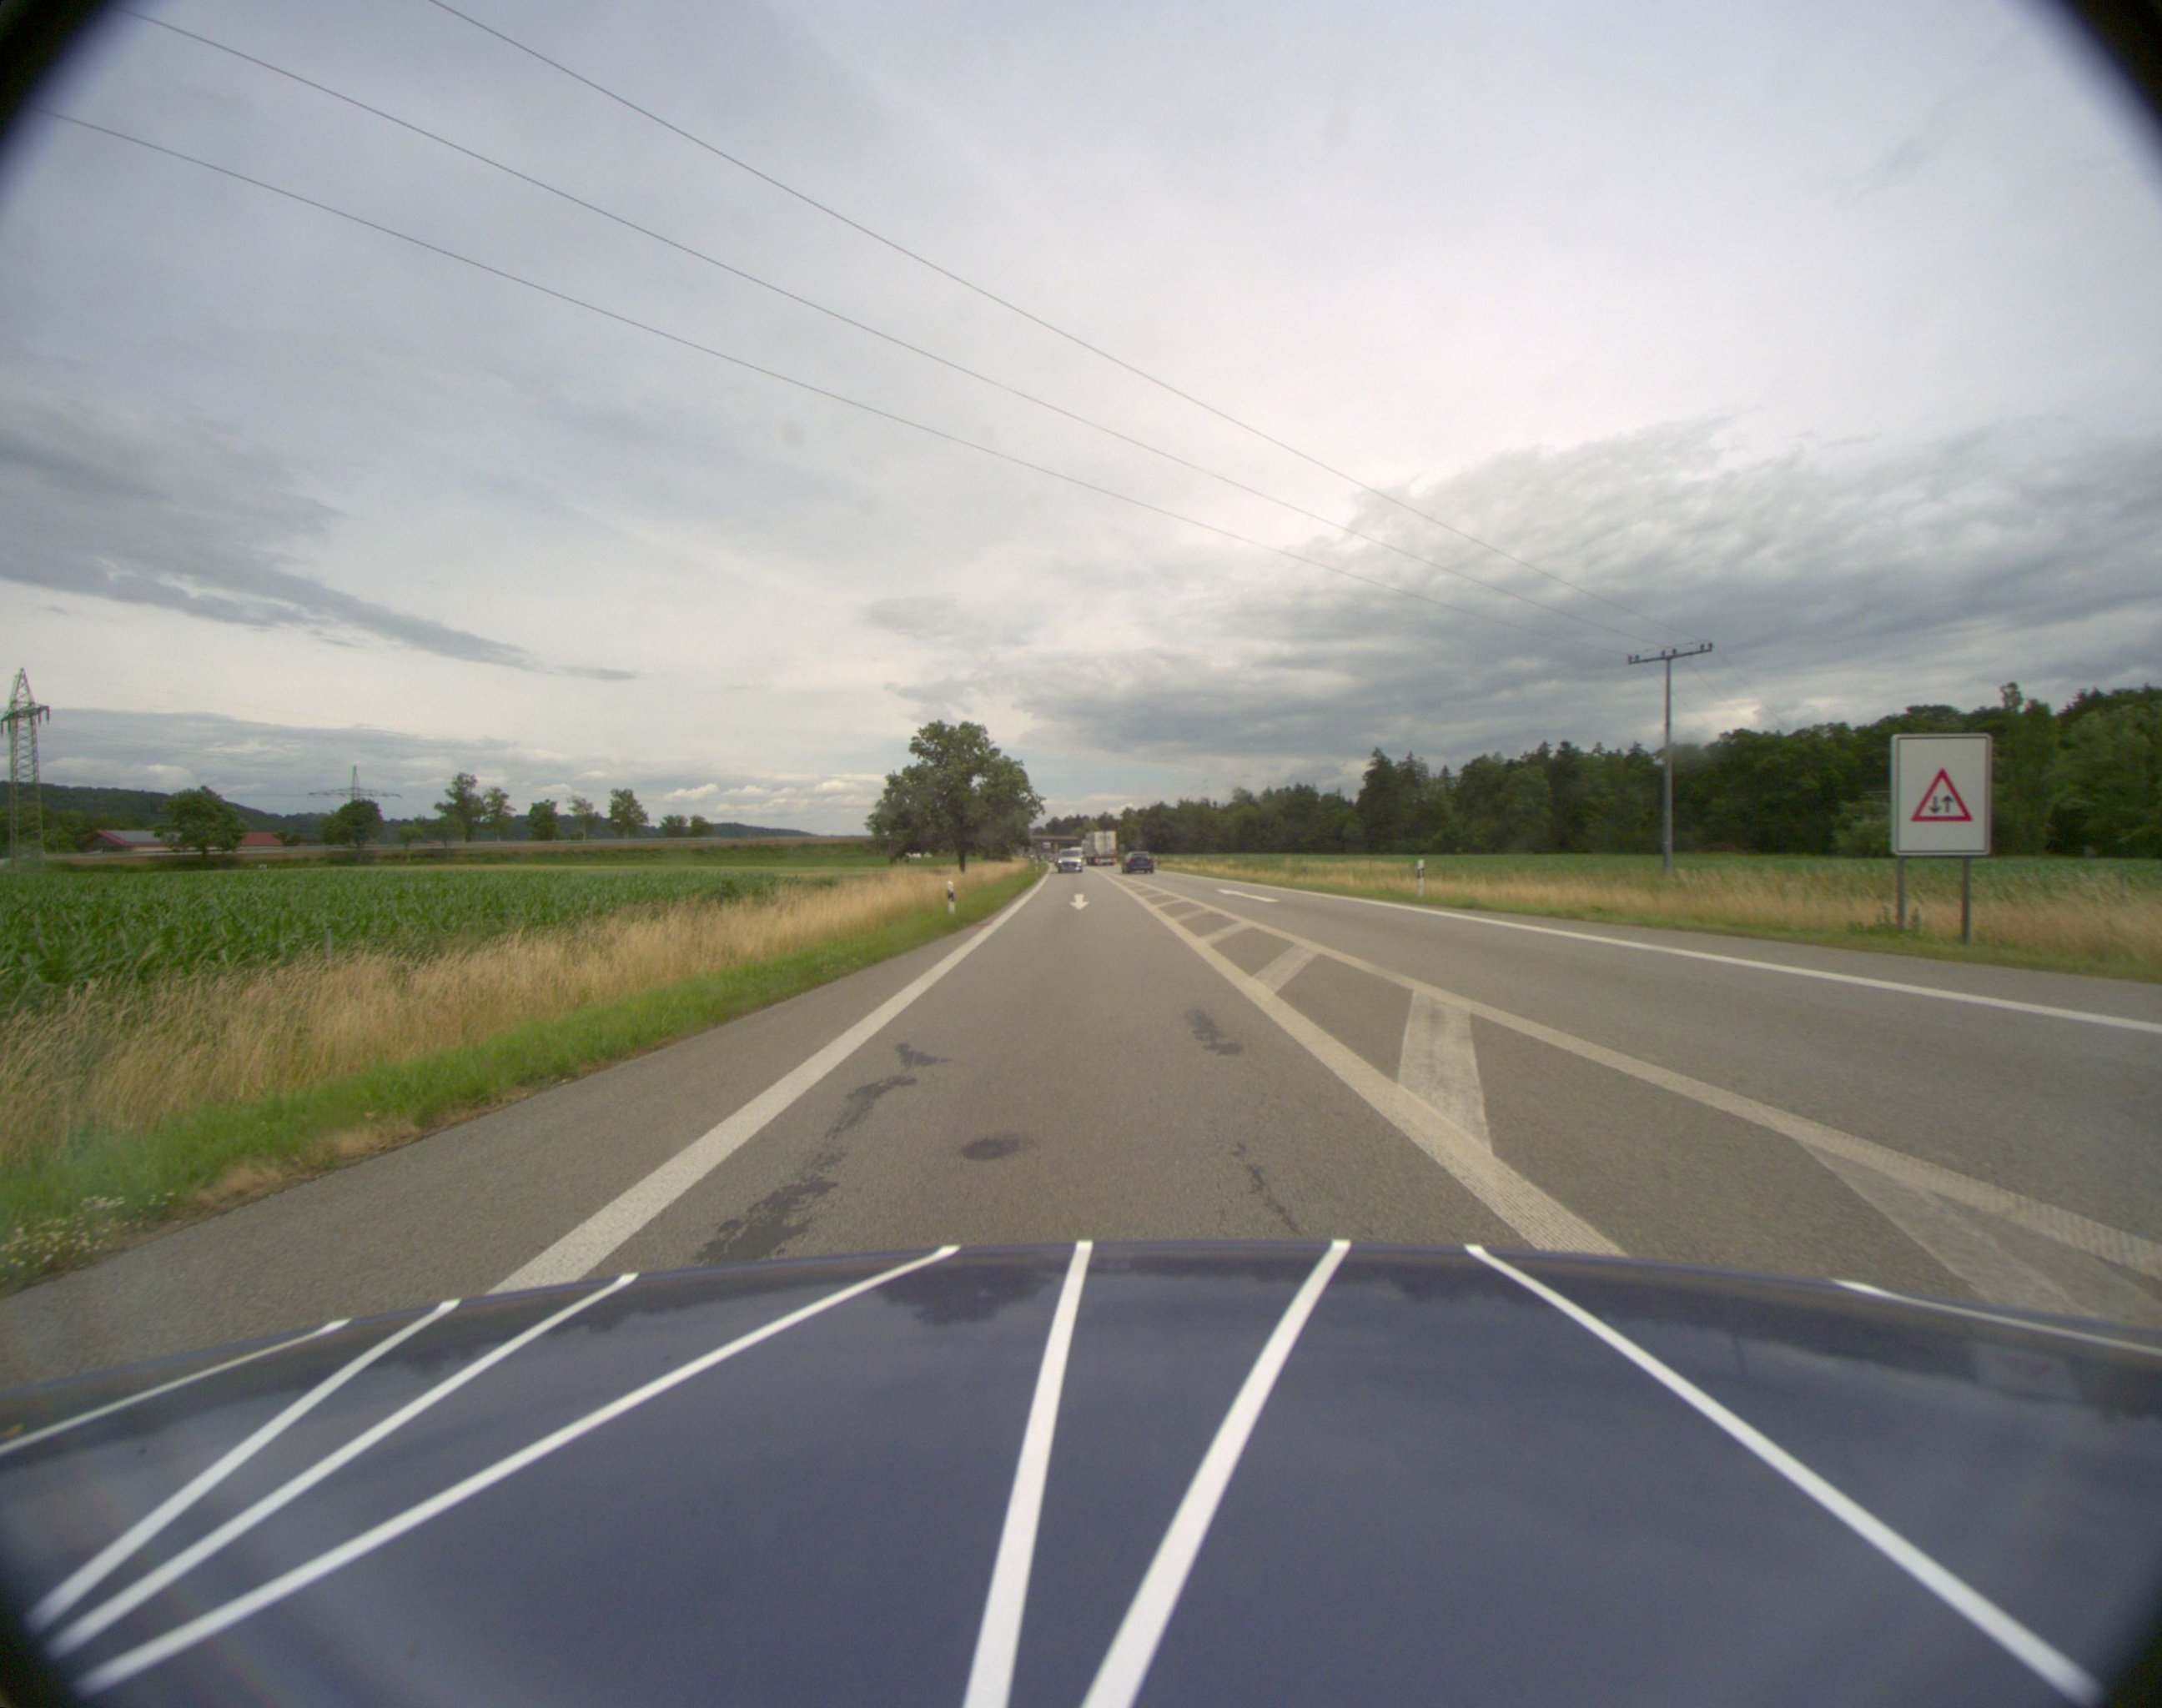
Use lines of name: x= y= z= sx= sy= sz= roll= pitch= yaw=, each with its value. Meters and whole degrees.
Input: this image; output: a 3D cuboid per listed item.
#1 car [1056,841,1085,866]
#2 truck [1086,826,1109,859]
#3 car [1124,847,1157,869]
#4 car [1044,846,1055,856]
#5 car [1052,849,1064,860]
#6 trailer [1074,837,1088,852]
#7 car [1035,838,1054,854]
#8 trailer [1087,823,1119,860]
car: x=-0.848 y=-0.046 z=60.563 sx=1.924 sy=1.823 sz=3.997 roll=-3 pitch=1 yaw=-5
truck: x=2.036 y=-1.427 z=97.784 sx=2.496 sy=3.973 sz=5.202 roll=-2 pitch=1 yaw=-2
car: x=4.079 y=0.234 z=53.132 sx=1.862 sy=1.470 sz=5.197 roll=0 pitch=1 yaw=-1
car: x=-7.362 y=-0.677 z=176.362 sx=1.998 sy=2.002 sz=4.000 roll=-3 pitch=1 yaw=4
car: x=-3.992 y=0.106 z=132.674 sx=1.862 sy=1.679 sz=4.112 roll=-3 pitch=1 yaw=0
trailer: x=0.022 y=-1.700 z=138.953 sx=2.188 sy=2.560 sz=6.241 roll=-3 pitch=1 yaw=-2
car: x=-4.009 y=-0.919 z=84.280 sx=1.862 sy=1.679 sz=4.112 roll=-3 pitch=1 yaw=0
trailer: x=2.459 y=-1.411 z=90.914 sx=2.497 sy=3.972 sz=13.070 roll=-2 pitch=0 yaw=-4
